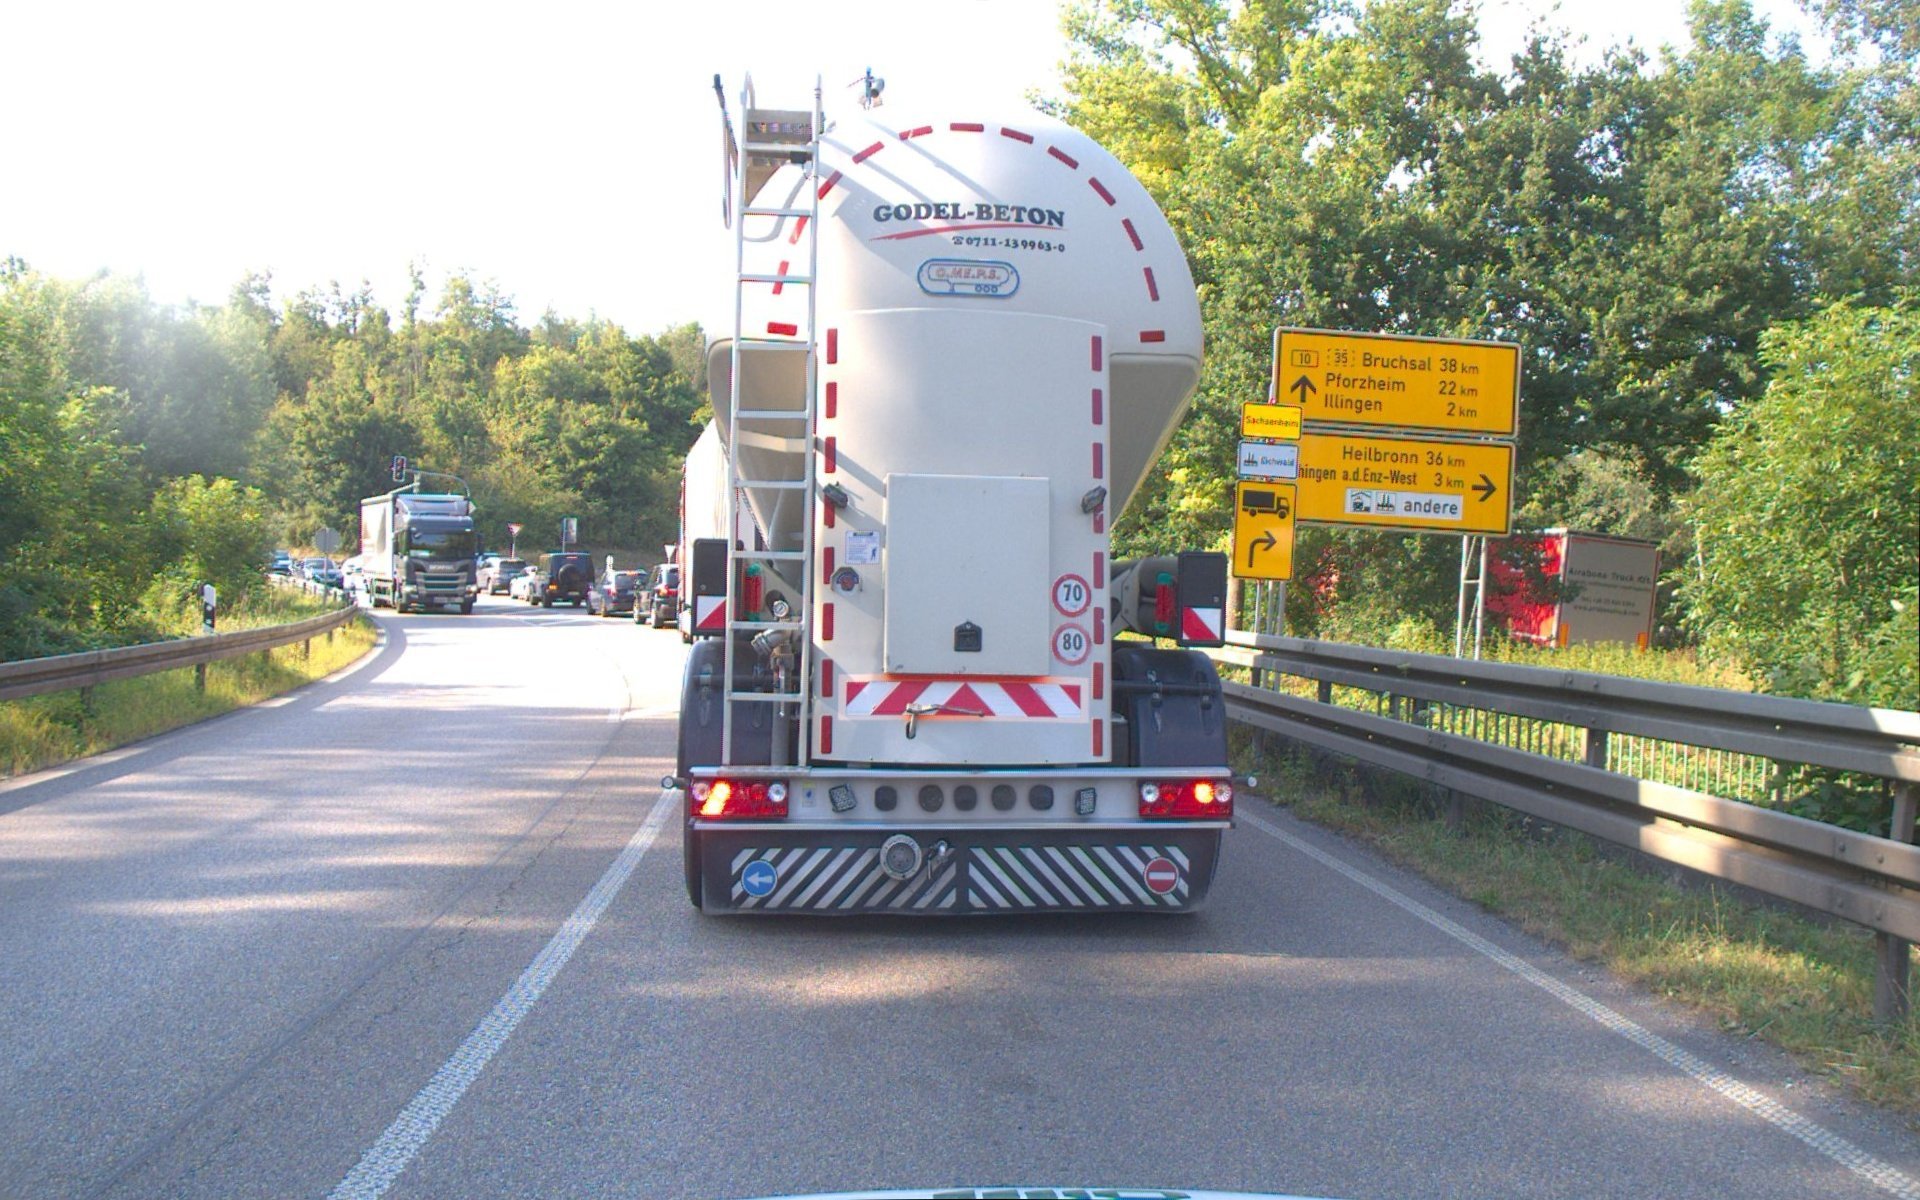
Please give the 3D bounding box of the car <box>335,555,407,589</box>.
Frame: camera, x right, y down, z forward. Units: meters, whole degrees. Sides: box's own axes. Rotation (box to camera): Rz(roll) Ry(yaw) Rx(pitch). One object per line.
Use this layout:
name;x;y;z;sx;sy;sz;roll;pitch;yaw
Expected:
car;-36.588;-1.708;102.830;1.833;1.883;3.993;3;0;29

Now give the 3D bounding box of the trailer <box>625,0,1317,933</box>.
trailer;-0.317;-0.901;11.680;2.830;4.532;9.596;1;0;-5

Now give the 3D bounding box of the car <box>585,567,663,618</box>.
car;-10.943;-0.275;53.725;1.841;1.592;3.974;0;1;-21

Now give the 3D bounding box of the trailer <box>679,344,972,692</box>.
trailer;-2.876;-1.127;28.887;3.483;4.592;12.947;2;0;-11

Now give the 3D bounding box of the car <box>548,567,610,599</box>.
car;-25.598;-1.149;111.084;3.920;1.883;1.867;3;0;-14

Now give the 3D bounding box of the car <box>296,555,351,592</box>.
car;-30.389;-1.275;78.904;1.848;1.584;3.961;3;0;-30

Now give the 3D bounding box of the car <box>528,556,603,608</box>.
car;-14.883;-0.714;62.259;1.933;1.883;3.966;-1;2;-26

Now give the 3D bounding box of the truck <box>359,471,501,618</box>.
truck;-18.732;-1.826;57.985;2.977;4.665;10.148;1;0;-28

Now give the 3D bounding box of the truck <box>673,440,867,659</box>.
truck;-4.247;-0.990;35.554;3.390;4.158;6.470;2;0;-13

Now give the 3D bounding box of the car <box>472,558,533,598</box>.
car;-20.796;-1.015;75.108;1.846;1.622;3.965;3;0;-27

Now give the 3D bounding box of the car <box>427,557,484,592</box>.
car;-25.118;-1.290;82.323;1.847;1.592;3.961;3;0;-29

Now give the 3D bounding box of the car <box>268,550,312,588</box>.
car;-35.762;-1.659;88.263;1.845;1.883;3.967;3;0;-26

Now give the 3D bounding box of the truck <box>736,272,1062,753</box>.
truck;-0.876;-0.749;17.274;2.771;4.105;5.885;1;0;-7

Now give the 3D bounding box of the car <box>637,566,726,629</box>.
car;-7.753;-0.116;45.815;1.839;1.656;3.979;0;1;-18

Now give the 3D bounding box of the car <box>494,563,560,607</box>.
car;-18.549;-0.644;70.712;1.846;1.712;3.965;3;0;-27
